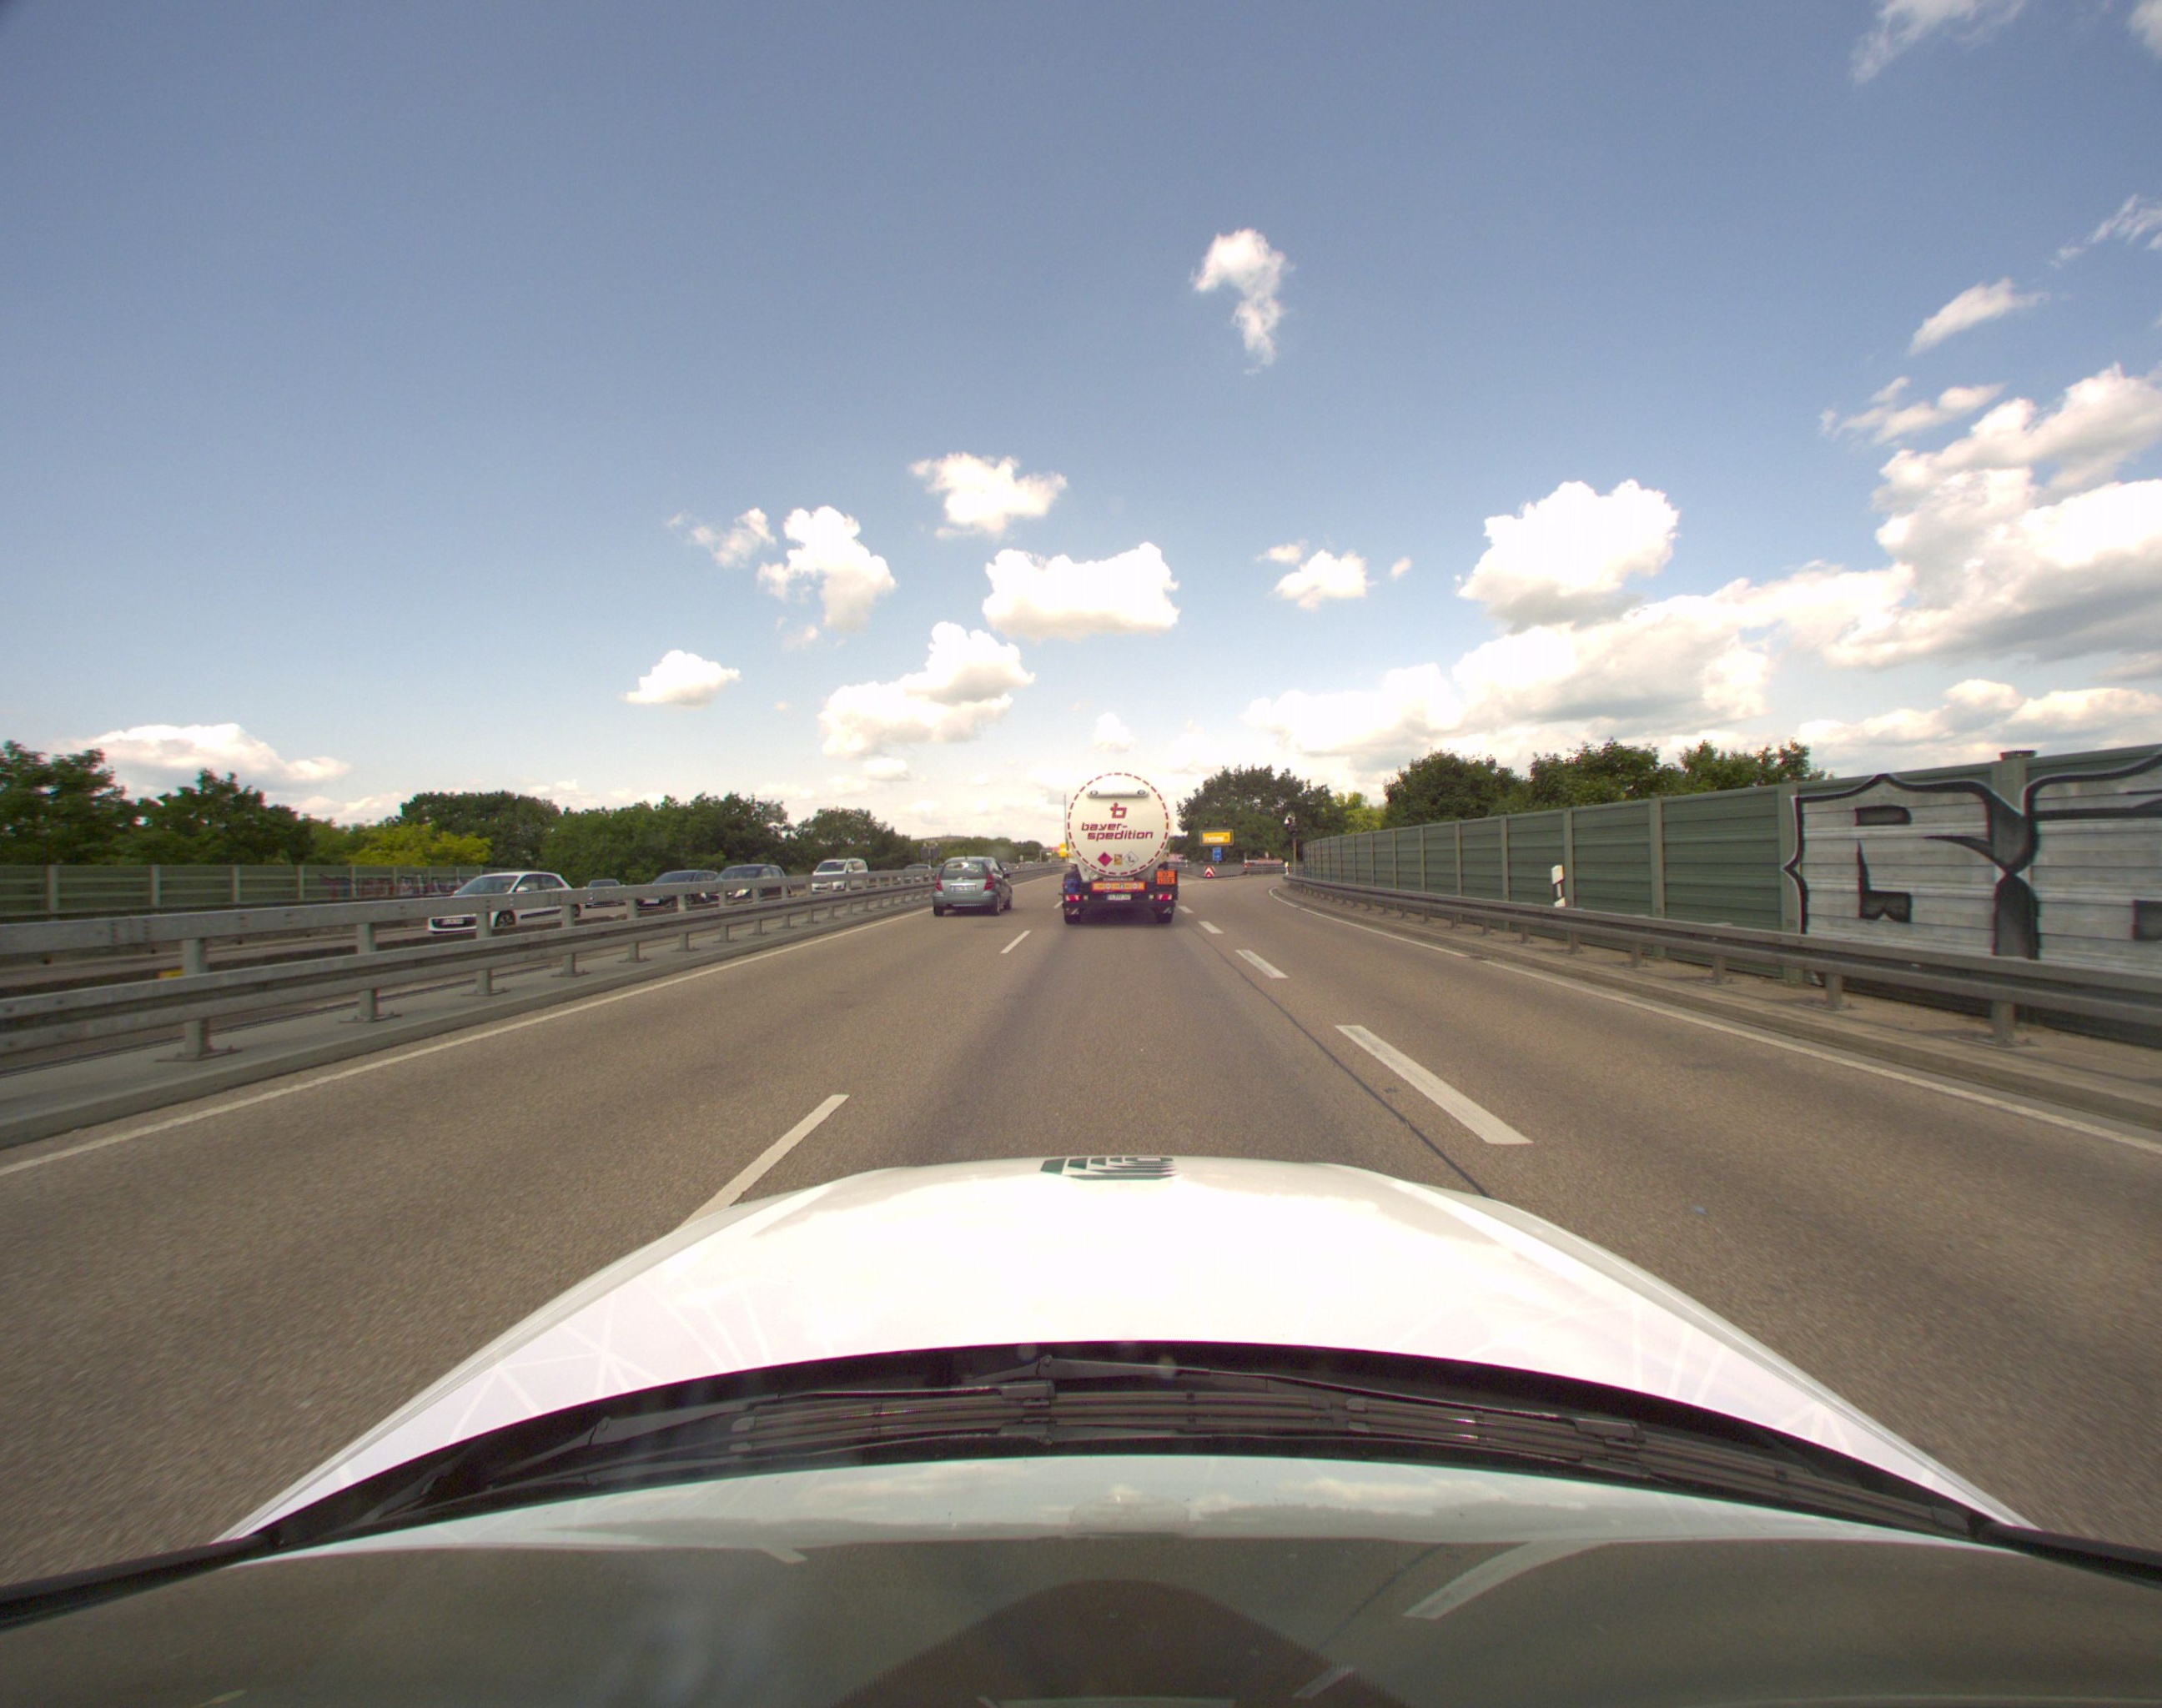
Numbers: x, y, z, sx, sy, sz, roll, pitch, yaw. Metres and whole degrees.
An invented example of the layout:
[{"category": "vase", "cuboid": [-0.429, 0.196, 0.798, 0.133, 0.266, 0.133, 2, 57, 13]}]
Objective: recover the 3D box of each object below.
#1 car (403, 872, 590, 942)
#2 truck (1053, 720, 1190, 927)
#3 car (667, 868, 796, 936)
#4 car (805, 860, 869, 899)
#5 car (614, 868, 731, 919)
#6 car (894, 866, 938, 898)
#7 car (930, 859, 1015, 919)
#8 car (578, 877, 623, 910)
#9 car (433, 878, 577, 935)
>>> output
[{"category": "car", "cuboid": [-14.778, 1.275, 20.910, 1.917, 1.574, 3.887, 0, -1, 1]}, {"category": "truck", "cuboid": [0.977, -0.599, 21.244, 2.884, 4.369, 8.032, 0, -1, 2]}, {"category": "car", "cuboid": [-10.422, 1.366, 24.690, 1.986, 1.857, 4.240, 0, -1, 1]}, {"category": "car", "cuboid": [-13.292, 1.323, 44.743, 1.954, 1.925, 5.190, 0, 0, 0]}, {"category": "car", "cuboid": [-14.451, 1.358, 29.086, 1.917, 1.574, 4.245, -2, -1, 1]}, {"category": "car", "cuboid": [-9.473, 1.579, 46.902, 1.721, 1.622, 3.741, 0, 1, 0]}, {"category": "car", "cuboid": [-2.989, 0.920, 23.188, 1.741, 1.531, 4.002, -1, 0, 2]}, {"category": "car", "cuboid": [-25.784, 2.141, 43.695, 1.937, 1.574, 4.240, -3, -1, -31]}, {"category": "car", "cuboid": [-18.839, 1.668, 26.911, 1.920, 1.574, 4.276, -1, 0, -4]}]
